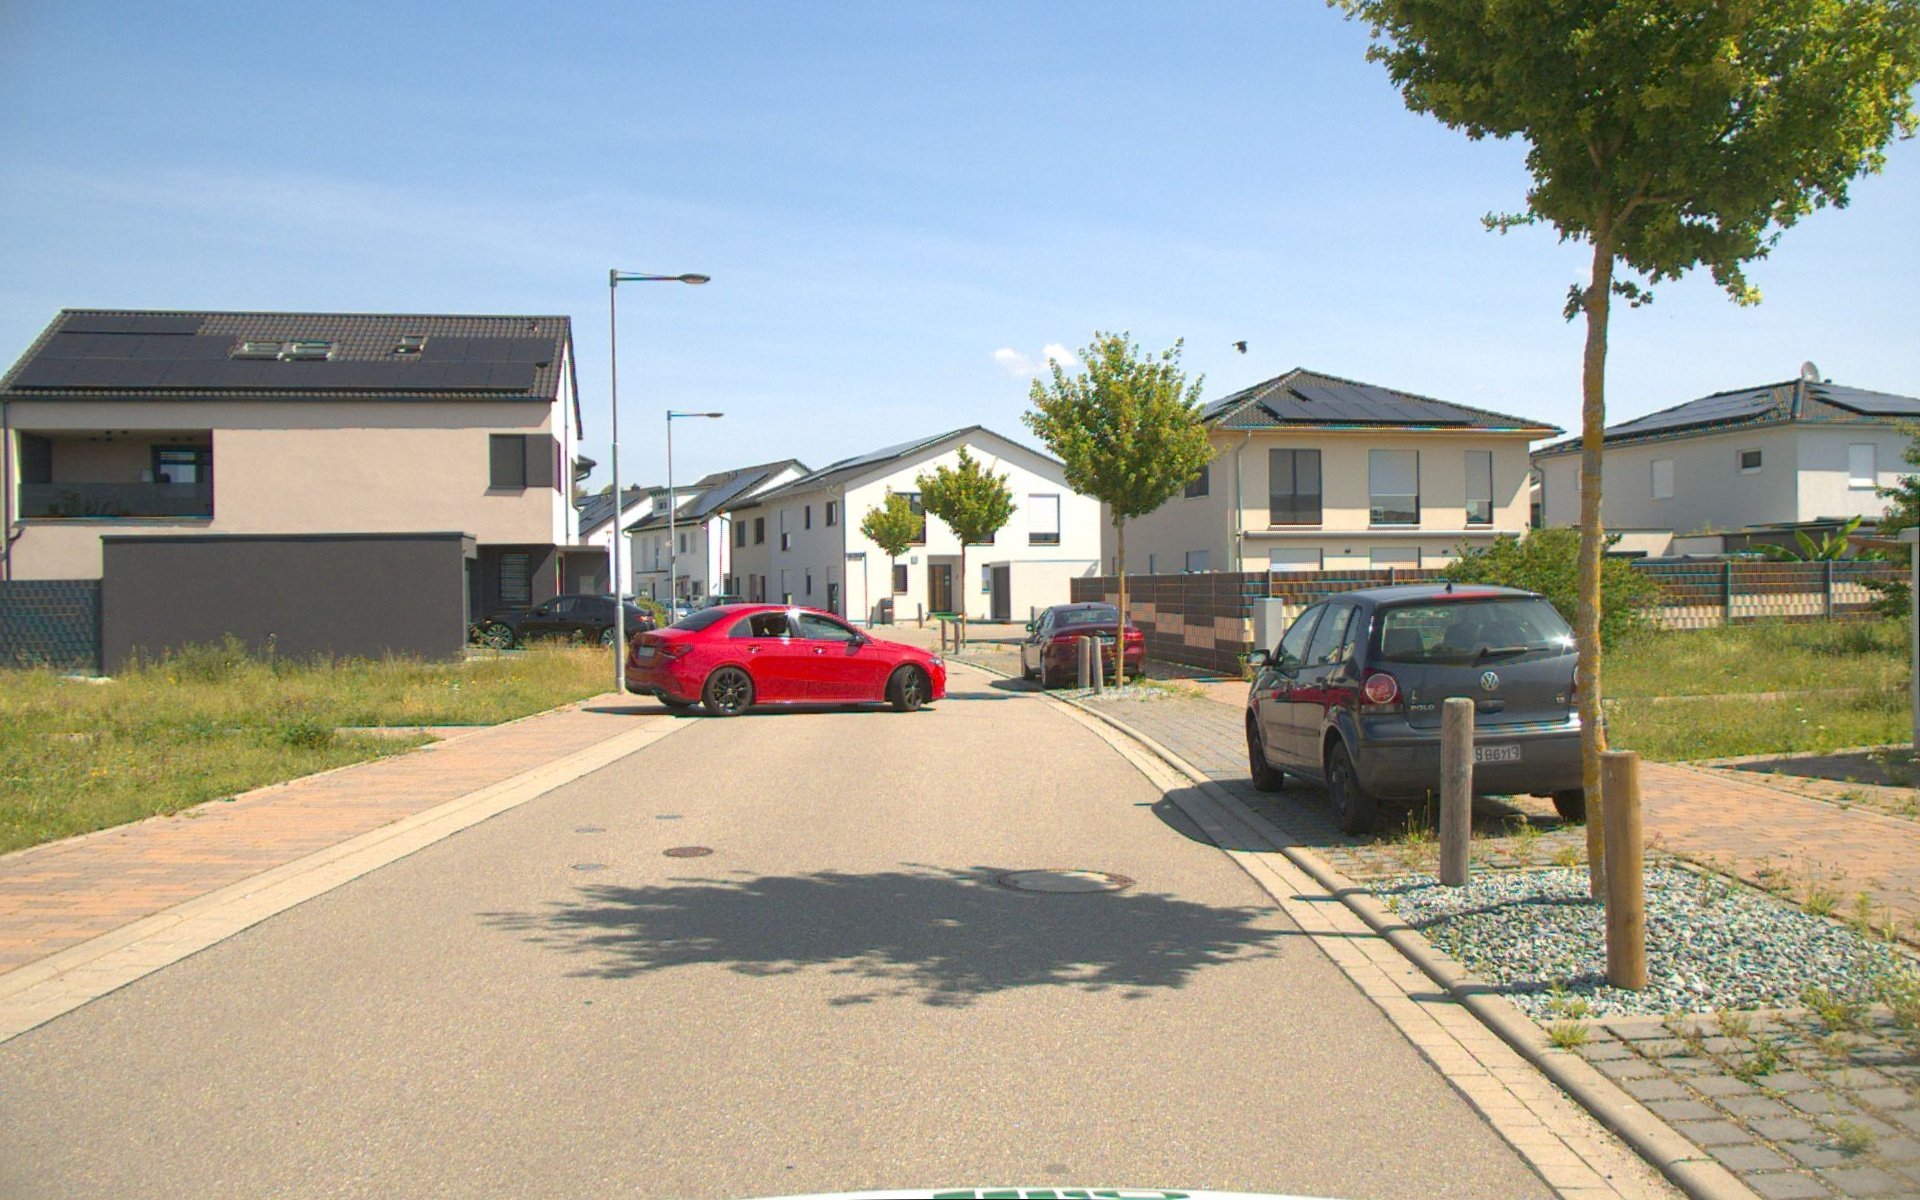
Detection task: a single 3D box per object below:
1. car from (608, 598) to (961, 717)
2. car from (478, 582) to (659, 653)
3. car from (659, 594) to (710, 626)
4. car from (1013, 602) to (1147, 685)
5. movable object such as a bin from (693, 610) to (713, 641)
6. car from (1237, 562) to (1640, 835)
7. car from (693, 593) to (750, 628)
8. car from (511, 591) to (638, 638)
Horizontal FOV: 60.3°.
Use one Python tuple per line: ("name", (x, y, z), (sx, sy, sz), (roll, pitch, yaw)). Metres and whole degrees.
("car", (-2.322, 0.713, 22.305), (4.462, 1.463, 1.748), (0, 0, -33))
("car", (-9.887, 0.446, 42.060), (4.294, 1.660, 1.767), (2, 0, -9))
("car", (-13.600, 0.512, 81.539), (1.654, 1.489, 3.917), (-2, 0, -22))
("car", (2.109, 0.739, 30.205), (1.720, 1.387, 4.570), (0, 0, -5))
("movable object such as a bin", (-8.144, 0.808, 52.382), (0.523, 0.952, 0.526), (1, 0, 1))
("car", (3.039, 0.552, 11.266), (1.566, 1.501, 3.674), (-2, 0, -1))
("car", (-10.435, 0.461, 72.213), (1.701, 1.447, 3.977), (-2, 0, -20))
("car", (-12.698, 0.465, 54.680), (3.911, 1.512, 1.752), (-1, 0, -7))
